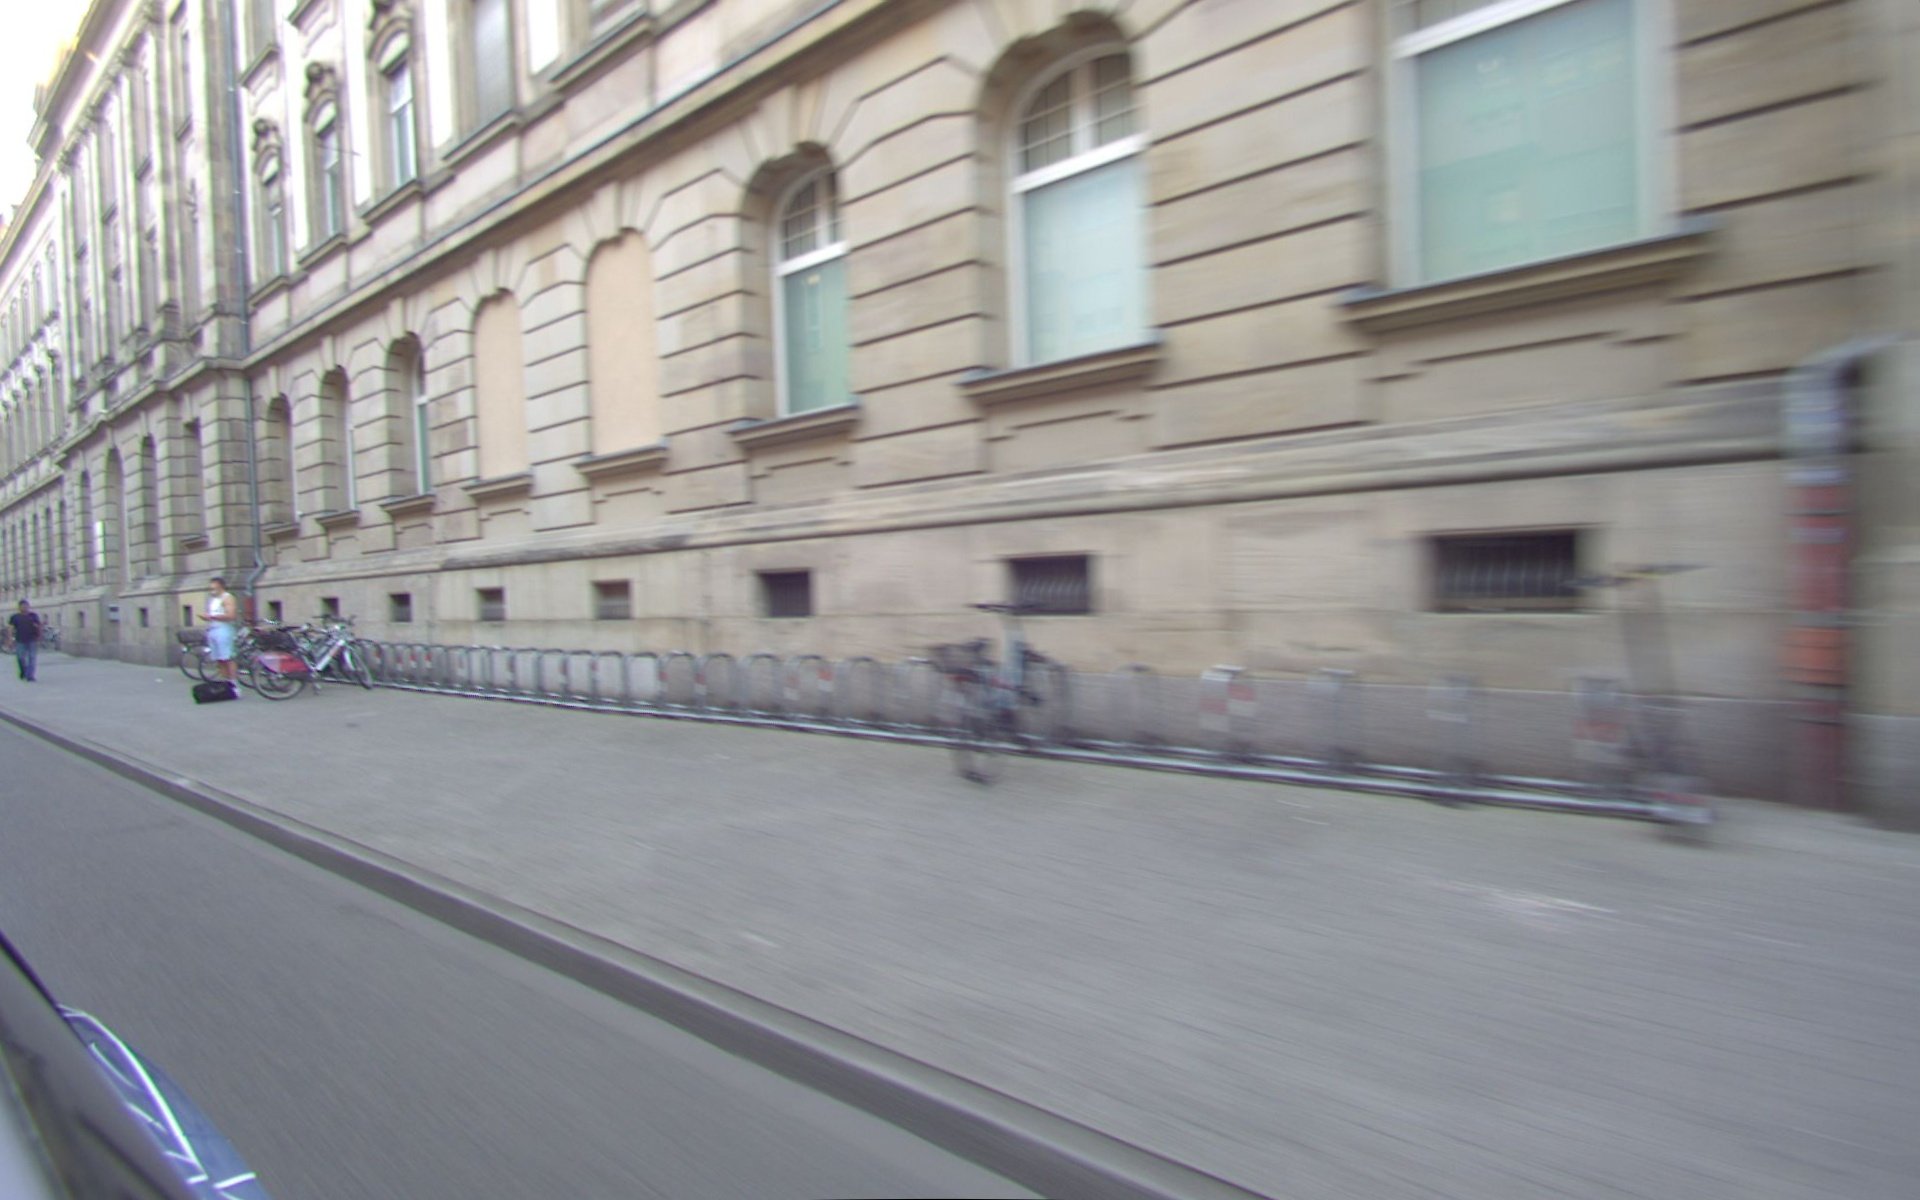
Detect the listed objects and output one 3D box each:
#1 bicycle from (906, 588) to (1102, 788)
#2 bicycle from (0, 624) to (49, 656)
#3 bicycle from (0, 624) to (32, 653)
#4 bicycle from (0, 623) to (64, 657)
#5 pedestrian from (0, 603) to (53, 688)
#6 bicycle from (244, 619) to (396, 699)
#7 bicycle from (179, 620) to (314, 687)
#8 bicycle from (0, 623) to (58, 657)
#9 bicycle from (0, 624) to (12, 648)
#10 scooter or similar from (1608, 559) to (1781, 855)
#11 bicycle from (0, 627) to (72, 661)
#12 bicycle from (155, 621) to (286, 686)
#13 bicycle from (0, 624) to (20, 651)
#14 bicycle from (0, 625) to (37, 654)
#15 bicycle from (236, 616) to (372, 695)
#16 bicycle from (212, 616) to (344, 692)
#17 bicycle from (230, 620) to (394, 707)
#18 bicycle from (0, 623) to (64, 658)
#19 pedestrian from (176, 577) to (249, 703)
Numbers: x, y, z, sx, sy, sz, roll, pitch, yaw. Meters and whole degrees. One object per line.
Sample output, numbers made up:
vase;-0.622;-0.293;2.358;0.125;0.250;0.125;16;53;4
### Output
bicycle;0.382;0.529;7.069;0.616;1.069;1.927;-2;4;26
bicycle;-35.964;1.525;38.390;0.728;1.086;1.922;-1;3;34
bicycle;-39.558;1.613;41.588;0.728;1.086;1.922;-1;3;34
bicycle;-34.291;1.470;37.138;0.728;1.086;1.922;-1;3;34
pedestrian;-20.366;0.968;21.970;0.969;1.763;0.801;-1;2;41
bicycle;-10.150;0.899;16.131;0.618;1.069;1.921;-1;3;35
bicycle;-13.315;0.971;18.939;0.618;1.069;1.921;-1;2;35
bicycle;-34.918;1.486;37.591;0.728;1.086;1.922;-1;3;34
bicycle;-44.765;1.731;46.174;0.725;1.086;2.011;-2;3;21
scooter or similar;3.494;0.441;4.885;0.495;1.241;1.126;-2;2;28
bicycle;-32.673;1.531;35.667;0.720;1.053;1.918;-2;2;36
bicycle;-14.332;1.009;19.667;0.619;1.069;1.918;-1;3;39
bicycle;-42.198;1.687;43.899;0.728;1.086;1.921;-1;3;34
bicycle;-38.649;1.621;40.822;0.728;1.086;1.922;-1;3;34
bicycle;-10.761;0.882;16.670;0.499;1.116;1.779;-1;3;35
bicycle;-11.700;0.903;17.417;0.499;1.116;1.779;-1;3;35
bicycle;-9.639;0.910;15.123;0.619;1.069;1.919;-1;3;38
bicycle;-33.420;1.438;36.210;0.747;1.086;1.918;-1;3;39
pedestrian;-11.483;0.605;15.551;0.753;1.865;0.583;-2;2;35
